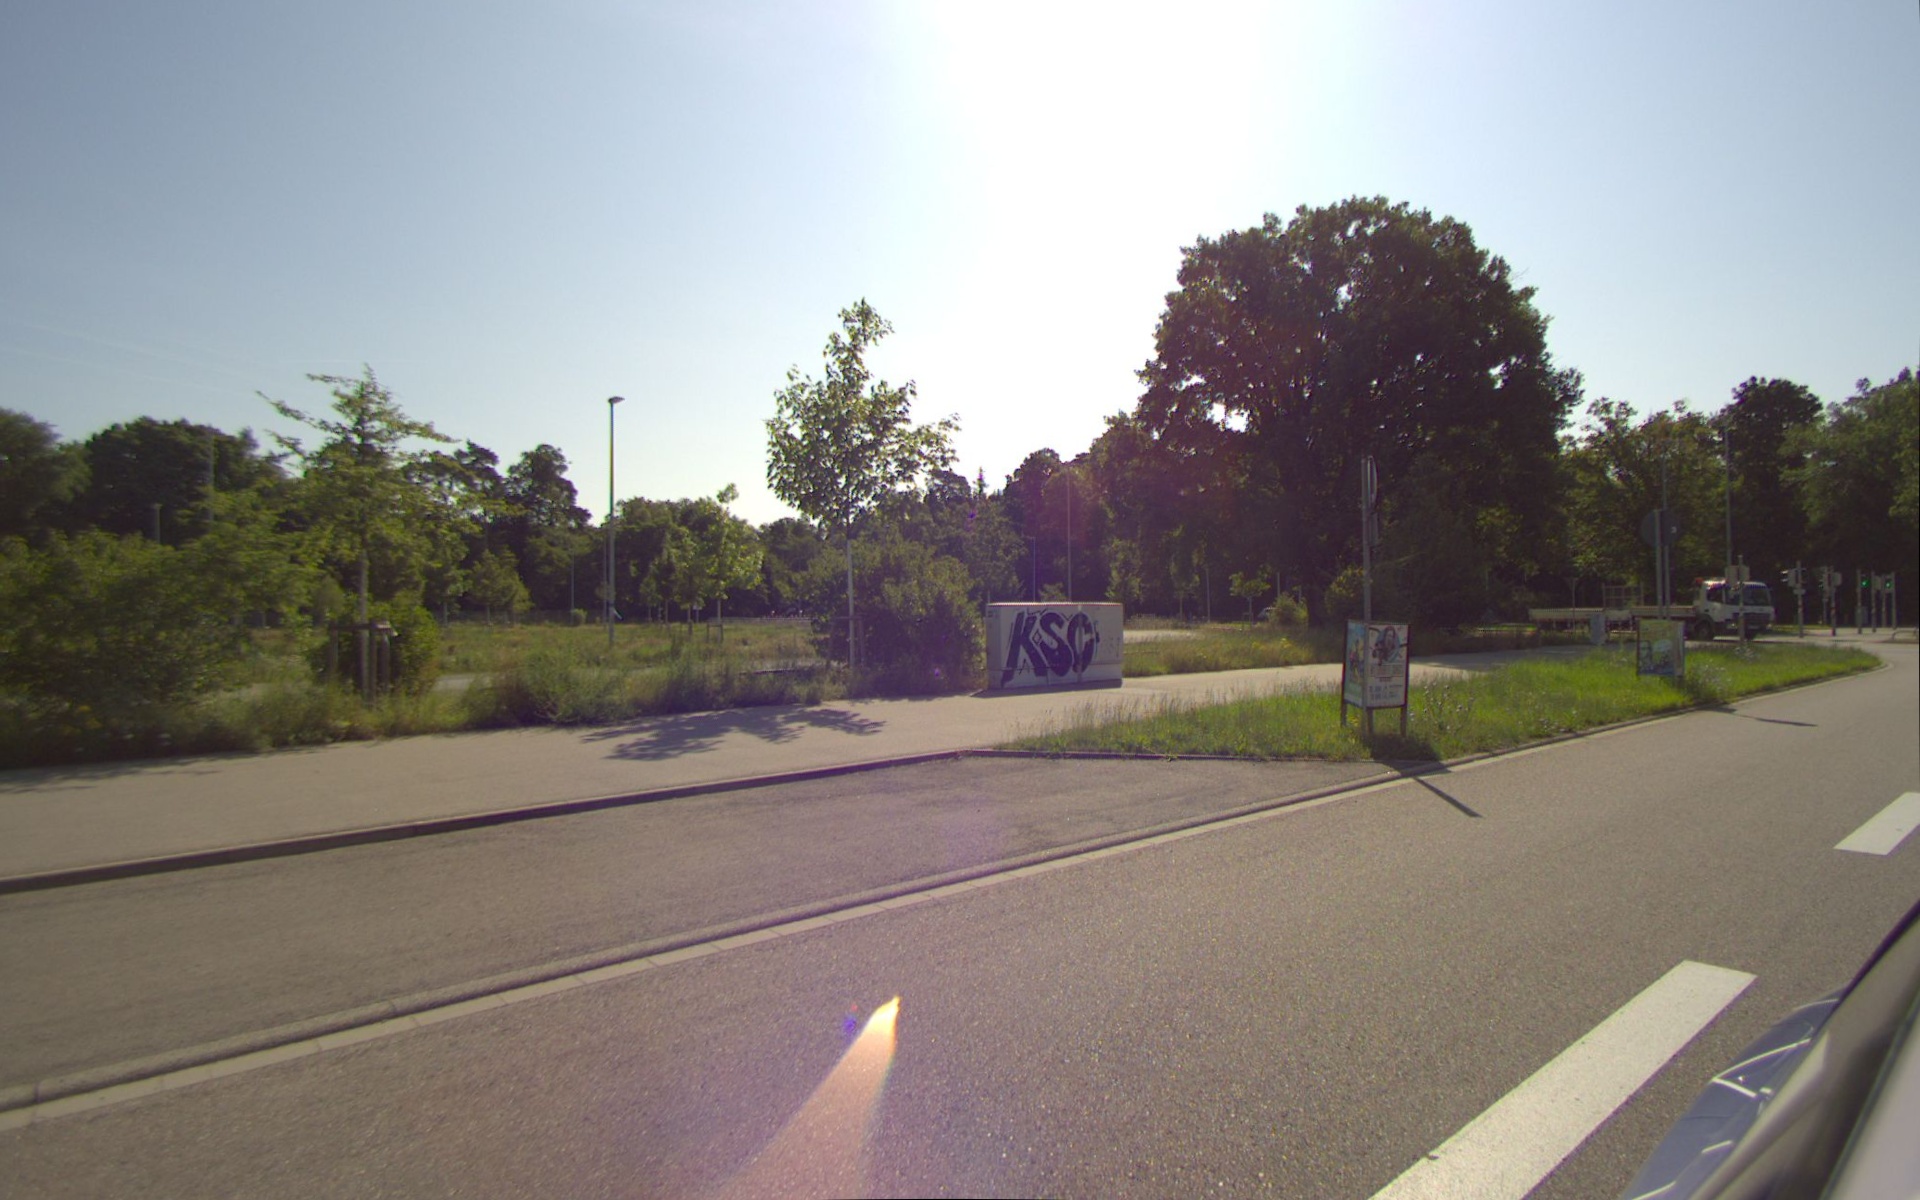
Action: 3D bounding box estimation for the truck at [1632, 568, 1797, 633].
[{"bbox_3d":[34.582,0.080,46.712,2.627,2.752,6.206,-1,-1,-3],"label":"truck"}]

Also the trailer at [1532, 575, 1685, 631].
[{"bbox_3d":[33.715,0.197,53.002,2.647,2.722,6.899,-1,-1,-11],"label":"trailer"}]
